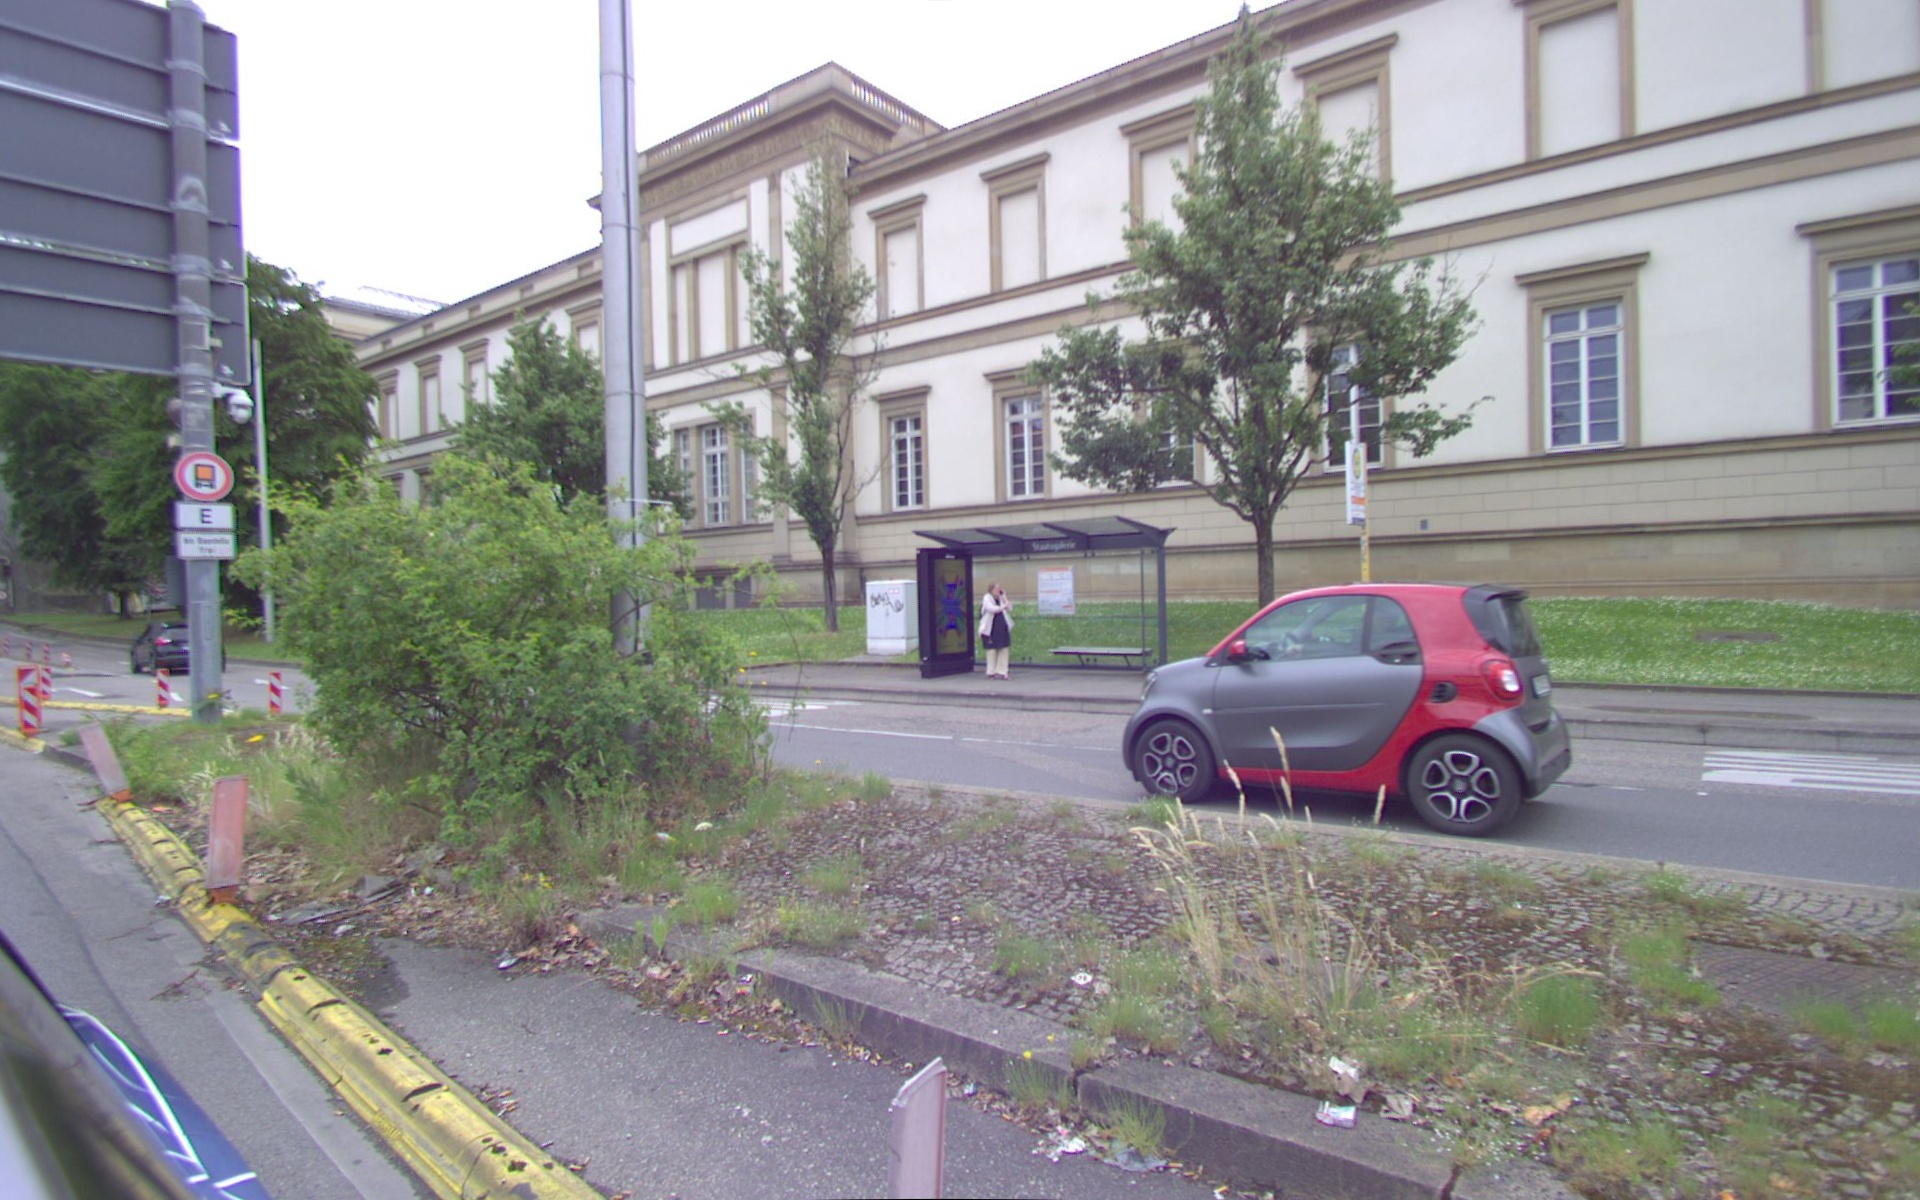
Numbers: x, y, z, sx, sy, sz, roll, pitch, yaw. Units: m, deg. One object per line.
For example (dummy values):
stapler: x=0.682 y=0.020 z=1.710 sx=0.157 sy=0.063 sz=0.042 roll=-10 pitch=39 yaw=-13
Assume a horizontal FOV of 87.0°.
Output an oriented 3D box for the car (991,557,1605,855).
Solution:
car: x=2.275 y=0.616 z=7.307 sx=3.876 sy=1.603 sz=1.648 roll=-2 pitch=-1 yaw=38

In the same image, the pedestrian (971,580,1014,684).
pedestrian: x=0.551 y=0.535 z=17.169 sx=0.578 sy=1.708 sz=0.460 roll=-2 pitch=0 yaw=-16

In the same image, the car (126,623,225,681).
car: x=-23.581 y=1.511 z=30.372 sx=3.880 sy=1.603 sz=1.646 roll=-2 pitch=-1 yaw=41

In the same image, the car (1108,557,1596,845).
car: x=2.640 y=0.579 z=6.974 sx=2.819 sy=1.563 sz=1.521 roll=-2 pitch=-1 yaw=37
